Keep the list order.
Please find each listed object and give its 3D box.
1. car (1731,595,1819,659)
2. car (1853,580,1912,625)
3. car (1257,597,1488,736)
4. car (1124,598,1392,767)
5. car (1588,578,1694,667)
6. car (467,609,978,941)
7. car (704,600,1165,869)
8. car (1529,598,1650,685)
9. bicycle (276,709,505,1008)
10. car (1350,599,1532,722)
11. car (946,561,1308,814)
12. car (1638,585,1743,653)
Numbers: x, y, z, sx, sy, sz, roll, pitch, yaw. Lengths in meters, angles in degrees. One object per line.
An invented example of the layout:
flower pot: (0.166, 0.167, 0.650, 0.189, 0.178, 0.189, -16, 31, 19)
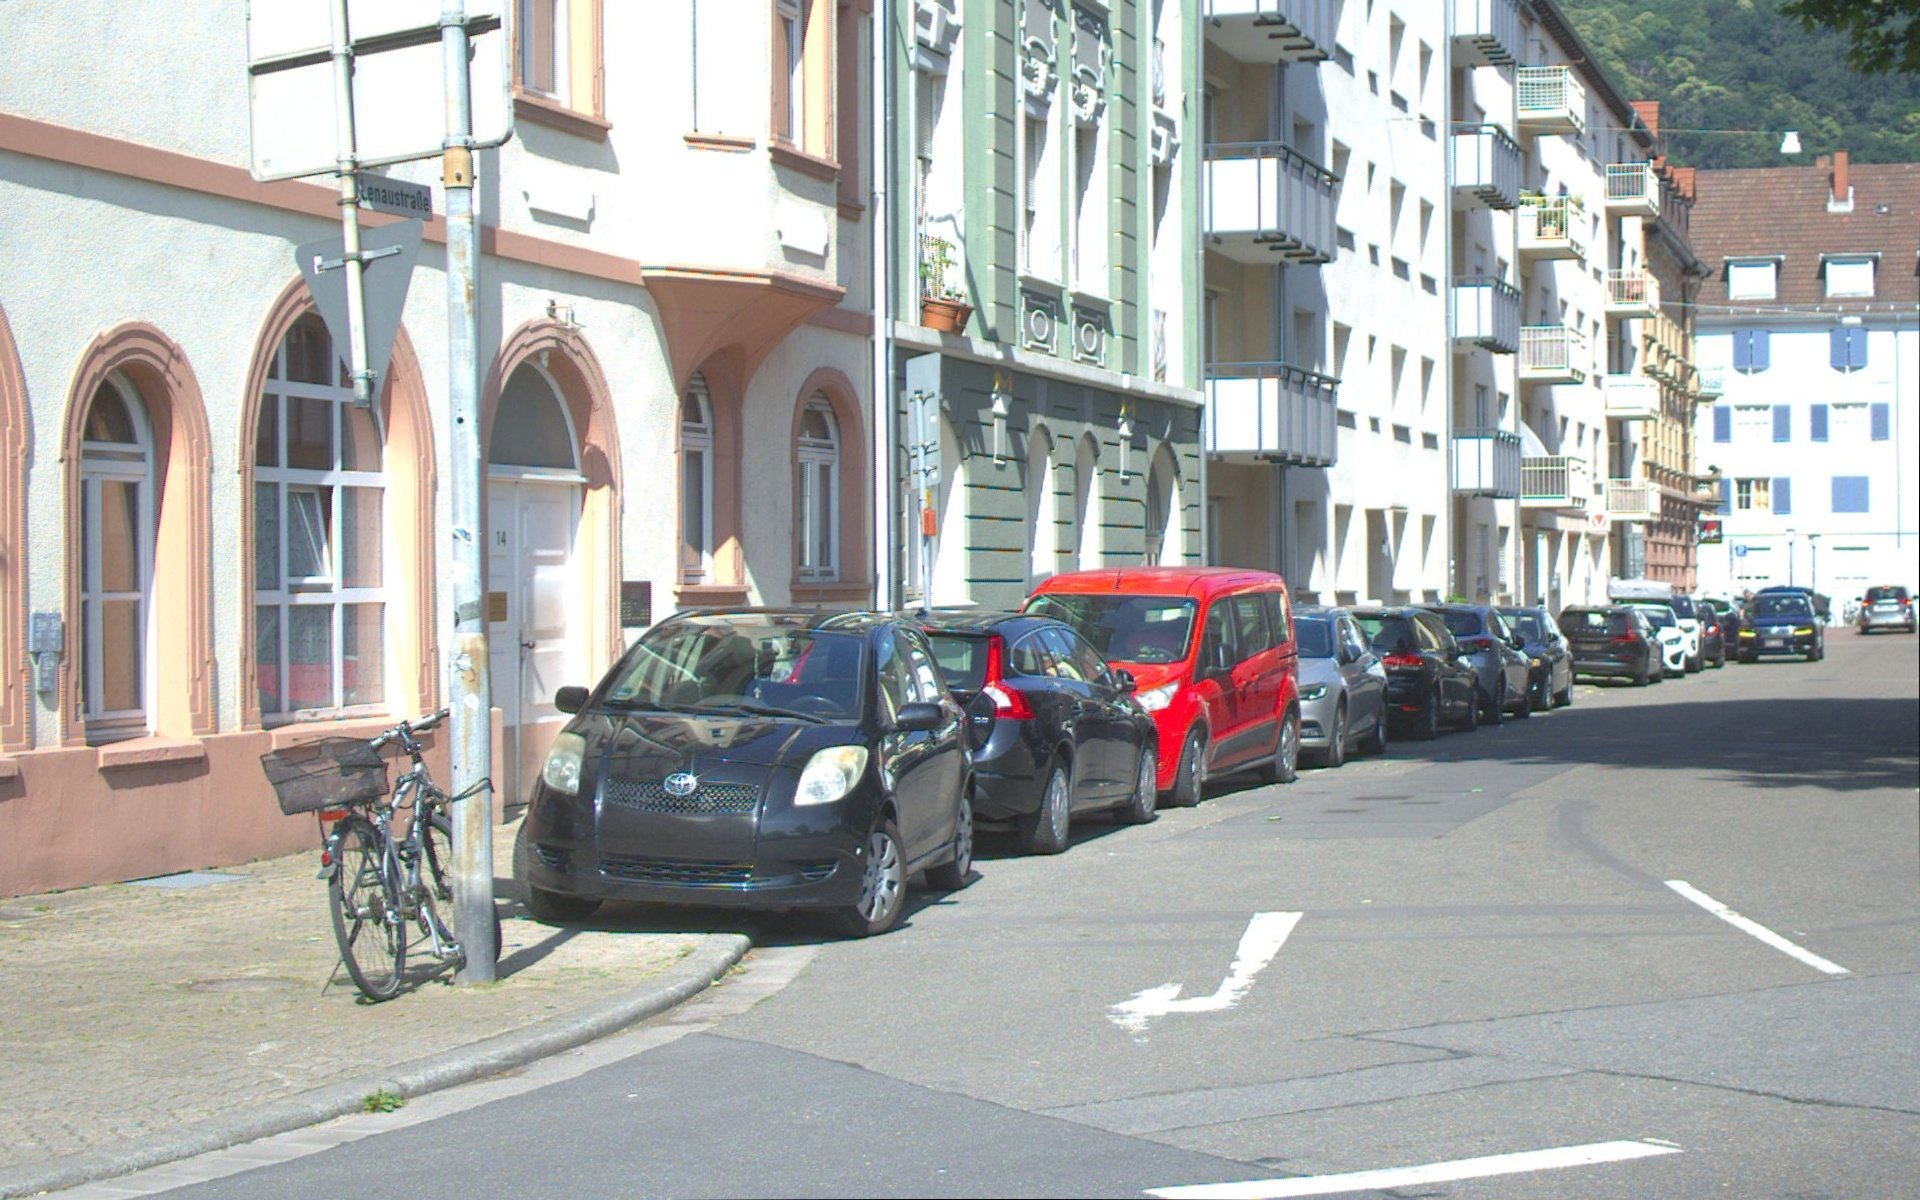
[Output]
car: (19.379, 0.627, 81.678, 1.750, 1.456, 3.777, 0, 0, 18)
car: (30.823, 0.080, 114.805, 1.750, 1.476, 3.777, 0, 0, 18)
car: (4.756, 0.718, 39.163, 1.864, 1.481, 3.996, 0, 0, 18)
car: (2.904, 0.731, 32.763, 1.864, 1.481, 3.997, 0, 0, 15)
car: (13.571, 0.417, 68.389, 1.864, 1.716, 3.860, 0, 0, 14)
car: (-1.066, 0.786, 17.298, 1.821, 1.442, 3.767, 0, 0, 8)
car: (-0.049, 0.797, 22.204, 1.983, 1.537, 4.060, -1, 0, 14)
car: (11.319, 0.717, 61.680, 1.864, 1.481, 3.860, 0, 0, 14)
bicycle: (-2.236, 0.988, 13.681, 0.624, 1.030, 1.883, 0, 0, -1)
car: (6.196, 0.736, 43.998, 1.864, 1.481, 3.997, 0, 0, 14)
car: (1.414, 0.621, 27.200, 1.867, 1.834, 4.222, 0, 0, 17)
car: (16.583, 0.413, 77.947, 1.995, 1.473, 3.997, 0, 0, 17)
